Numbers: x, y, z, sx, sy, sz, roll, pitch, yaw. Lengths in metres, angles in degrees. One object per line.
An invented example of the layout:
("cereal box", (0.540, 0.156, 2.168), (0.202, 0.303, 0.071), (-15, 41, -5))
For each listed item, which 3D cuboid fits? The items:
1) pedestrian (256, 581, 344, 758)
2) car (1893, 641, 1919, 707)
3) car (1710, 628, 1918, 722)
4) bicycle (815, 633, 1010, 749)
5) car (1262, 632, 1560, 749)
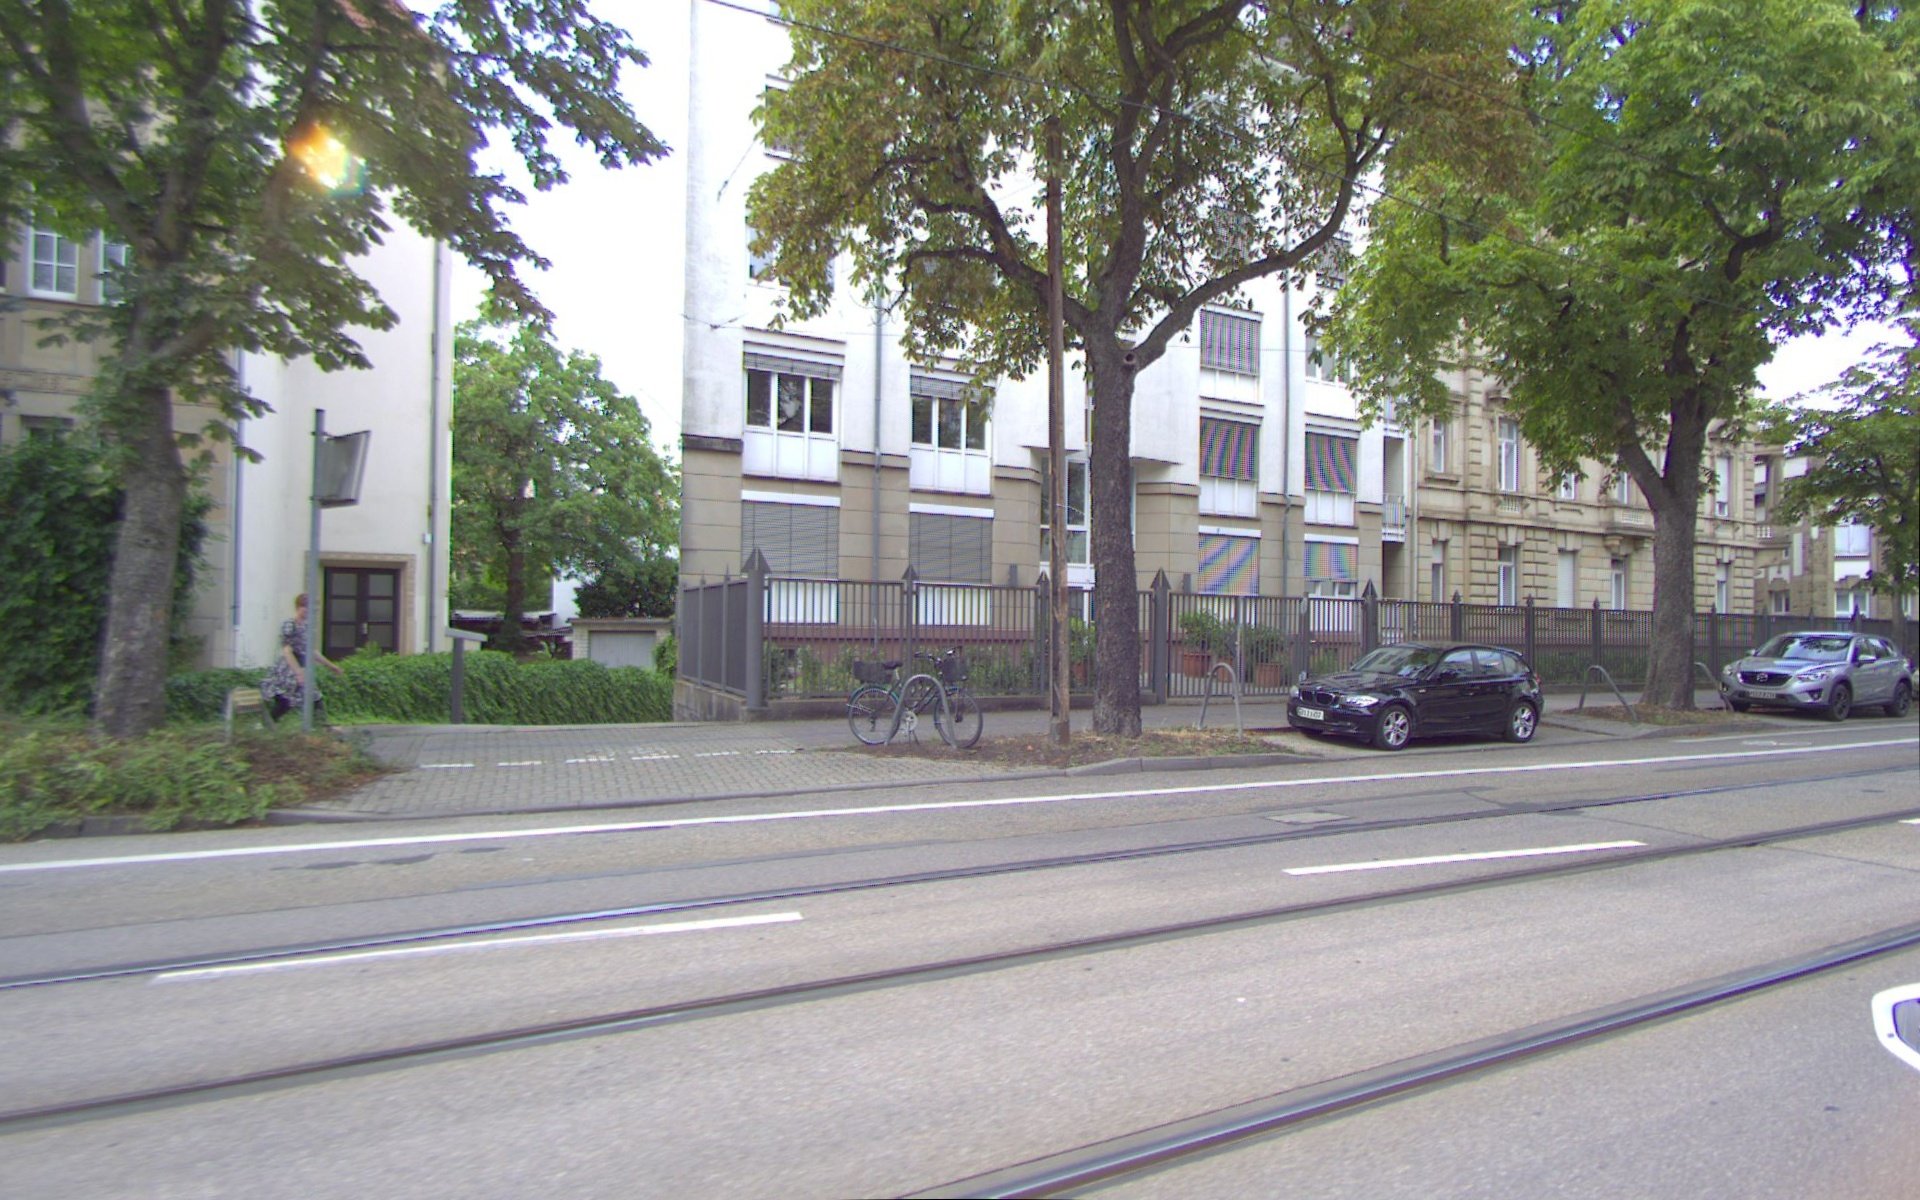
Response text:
("pedestrian", (-6.857, 0.697, 10.470), (0.693, 1.758, 0.701), (1, 0, -31))
("car", (23.645, 1.731, 23.386), (4.027, 1.487, 1.594), (2, -1, -28))
("car", (17.143, 1.441, 20.132), (4.302, 1.696, 1.704), (2, -1, -28))
("bicycle", (-0.583, 1.025, 11.903), (2.197, 1.191, 0.834), (1, 0, 31))
("car", (6.622, 1.257, 14.727), (4.110, 1.443, 1.715), (2, 1, -26))
